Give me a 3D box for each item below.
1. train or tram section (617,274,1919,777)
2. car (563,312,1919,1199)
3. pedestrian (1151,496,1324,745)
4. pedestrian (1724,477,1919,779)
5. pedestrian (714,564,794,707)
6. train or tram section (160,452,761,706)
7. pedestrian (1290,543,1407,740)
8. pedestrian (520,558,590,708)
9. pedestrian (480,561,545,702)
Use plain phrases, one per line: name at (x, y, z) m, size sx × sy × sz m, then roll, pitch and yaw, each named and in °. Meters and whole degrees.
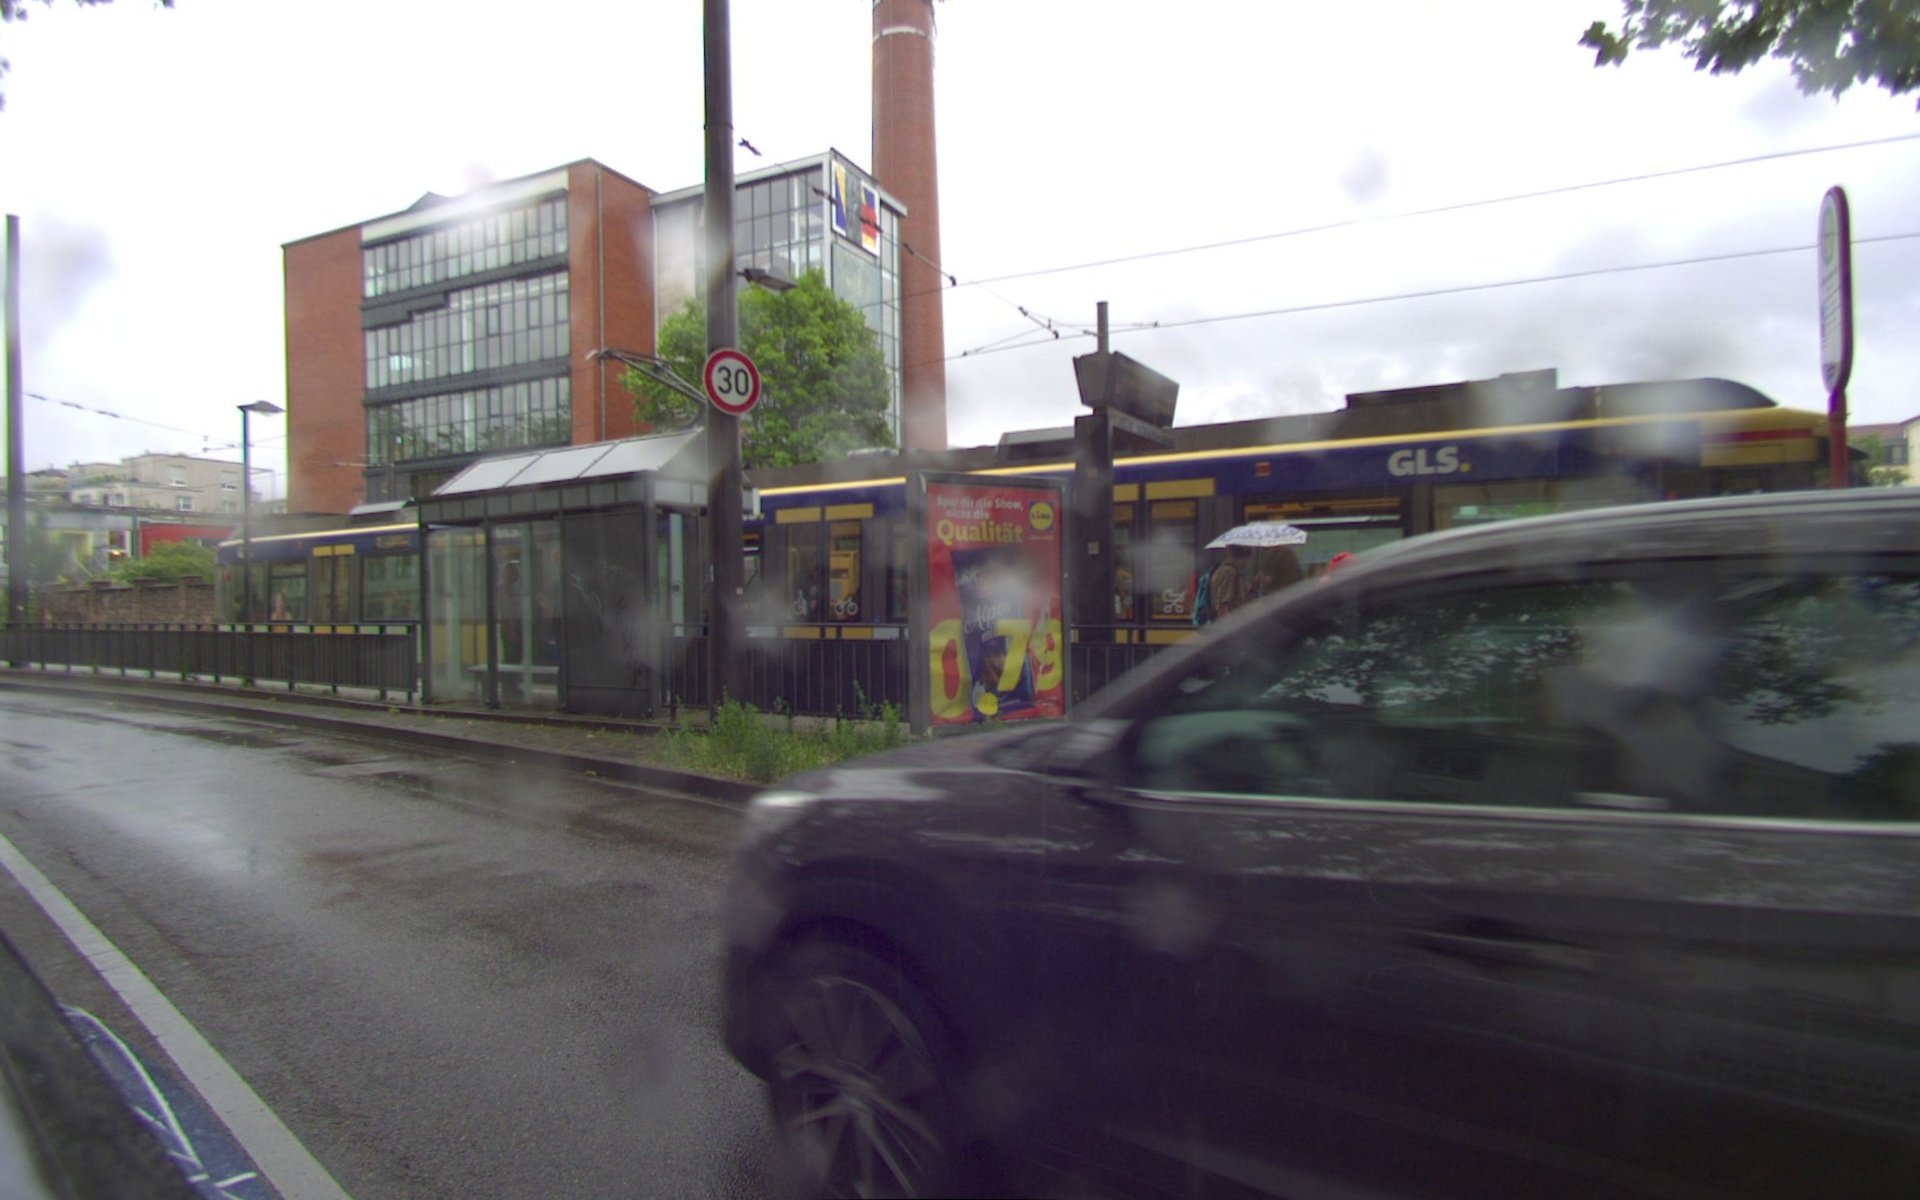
train or tram section at (1.735, -0.428, 11.959) m, size 13.666 × 3.572 × 2.839 m, roll -1°, pitch 0°, yaw 31°
car at (1.153, 0.534, 2.185) m, size 4.600 × 1.695 × 1.785 m, roll -1°, pitch 0°, yaw 40°
pedestrian at (2.247, 0.193, 8.168) m, size 1.072 × 1.840 × 0.975 m, roll -4°, pitch -4°, yaw 30°
pedestrian at (5.502, 0.167, 6.465) m, size 0.827 × 1.768 × 0.859 m, roll -1°, pitch 0°, yaw 29°
pedestrian at (-2.400, 0.422, 11.836) m, size 0.504 × 1.610 × 0.790 m, roll -4°, pitch -4°, yaw 30°
train or tram section at (-10.523, -0.185, 19.579) m, size 15.323 × 3.572 × 2.838 m, roll -1°, pitch 0°, yaw 32°
pedestrian at (3.287, 0.355, 8.643) m, size 0.651 × 1.584 × 0.797 m, roll -2°, pitch -3°, yaw 4°
pedestrian at (-4.910, 0.385, 12.267) m, size 0.620 × 1.762 × 0.565 m, roll -1°, pitch 0°, yaw -41°
pedestrian at (-5.775, 0.396, 13.059) m, size 0.620 × 1.762 × 0.515 m, roll -1°, pitch 0°, yaw -41°
